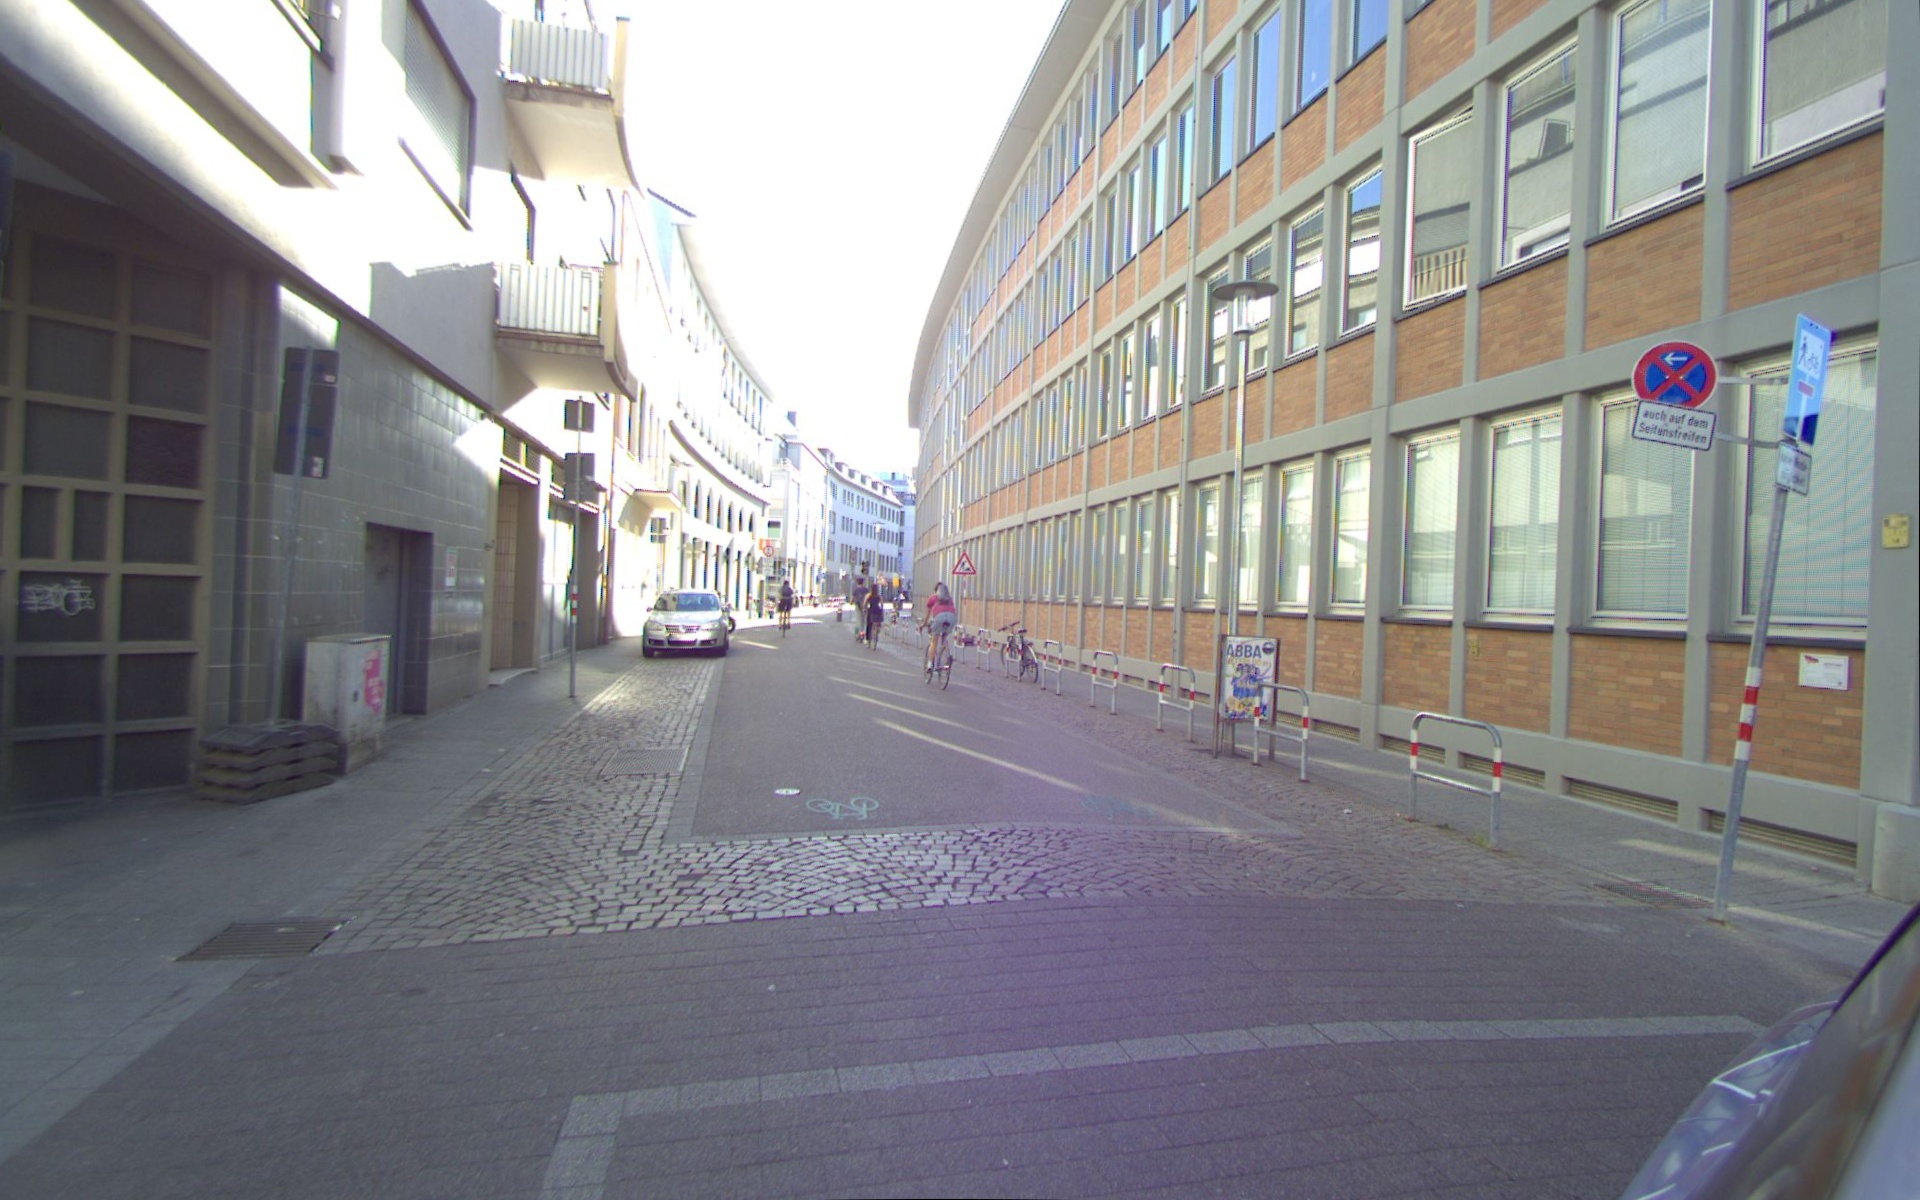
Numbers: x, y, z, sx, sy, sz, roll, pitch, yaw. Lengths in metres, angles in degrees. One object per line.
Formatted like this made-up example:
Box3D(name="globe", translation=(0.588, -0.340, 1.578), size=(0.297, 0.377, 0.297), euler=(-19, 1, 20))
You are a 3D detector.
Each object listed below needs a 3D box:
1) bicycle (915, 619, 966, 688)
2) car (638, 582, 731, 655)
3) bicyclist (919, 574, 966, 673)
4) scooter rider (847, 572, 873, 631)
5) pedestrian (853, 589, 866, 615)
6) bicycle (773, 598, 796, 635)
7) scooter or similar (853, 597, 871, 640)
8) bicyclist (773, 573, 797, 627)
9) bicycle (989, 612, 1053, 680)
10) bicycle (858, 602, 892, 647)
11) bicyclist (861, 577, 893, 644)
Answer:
Box3D(name="bicycle", translation=(-0.328, 0.837, 16.217), size=(0.427, 0.969, 1.594), euler=(5, 0, -12))
Box3D(name="car", translation=(-6.047, 0.341, 22.553), size=(1.734, 1.488, 3.820), euler=(0, 1, -11))
Box3D(name="bicyclist", translation=(-0.294, 0.359, 16.234), size=(0.419, 1.517, 0.877), euler=(4, 0, -18))
Box3D(name="scooter rider", translation=(-3.015, 0.041, 30.460), size=(0.635, 1.747, 0.703), euler=(2, 1, -12))
Box3D(name="pedestrian", translation=(-5.600, 0.111, 56.504), size=(0.646, 1.459, 0.597), euler=(2, 0, -10))
Box3D(name="bicycle", translation=(-5.362, 0.476, 30.861), size=(0.562, 1.064, 1.840), euler=(2, 0, -13))
Box3D(name="scooter or similar", translation=(-2.965, 0.547, 30.467), size=(0.330, 1.200, 1.282), euler=(4, 1, -11))
Box3D(name="bicyclist", translation=(-5.365, -0.008, 30.948), size=(0.636, 1.578, 1.112), euler=(2, 0, -12))
Box3D(name="bicycle", translation=(1.108, 0.829, 18.789), size=(0.625, 1.130, 1.934), euler=(2, 0, -13))
Box3D(name="bicycle", translation=(-2.244, 0.629, 26.653), size=(0.579, 1.065, 1.804), euler=(4, 0, -13))
Box3D(name="bicyclist", translation=(-2.201, 0.266, 26.682), size=(0.607, 1.687, 0.825), euler=(4, -1, -12))
